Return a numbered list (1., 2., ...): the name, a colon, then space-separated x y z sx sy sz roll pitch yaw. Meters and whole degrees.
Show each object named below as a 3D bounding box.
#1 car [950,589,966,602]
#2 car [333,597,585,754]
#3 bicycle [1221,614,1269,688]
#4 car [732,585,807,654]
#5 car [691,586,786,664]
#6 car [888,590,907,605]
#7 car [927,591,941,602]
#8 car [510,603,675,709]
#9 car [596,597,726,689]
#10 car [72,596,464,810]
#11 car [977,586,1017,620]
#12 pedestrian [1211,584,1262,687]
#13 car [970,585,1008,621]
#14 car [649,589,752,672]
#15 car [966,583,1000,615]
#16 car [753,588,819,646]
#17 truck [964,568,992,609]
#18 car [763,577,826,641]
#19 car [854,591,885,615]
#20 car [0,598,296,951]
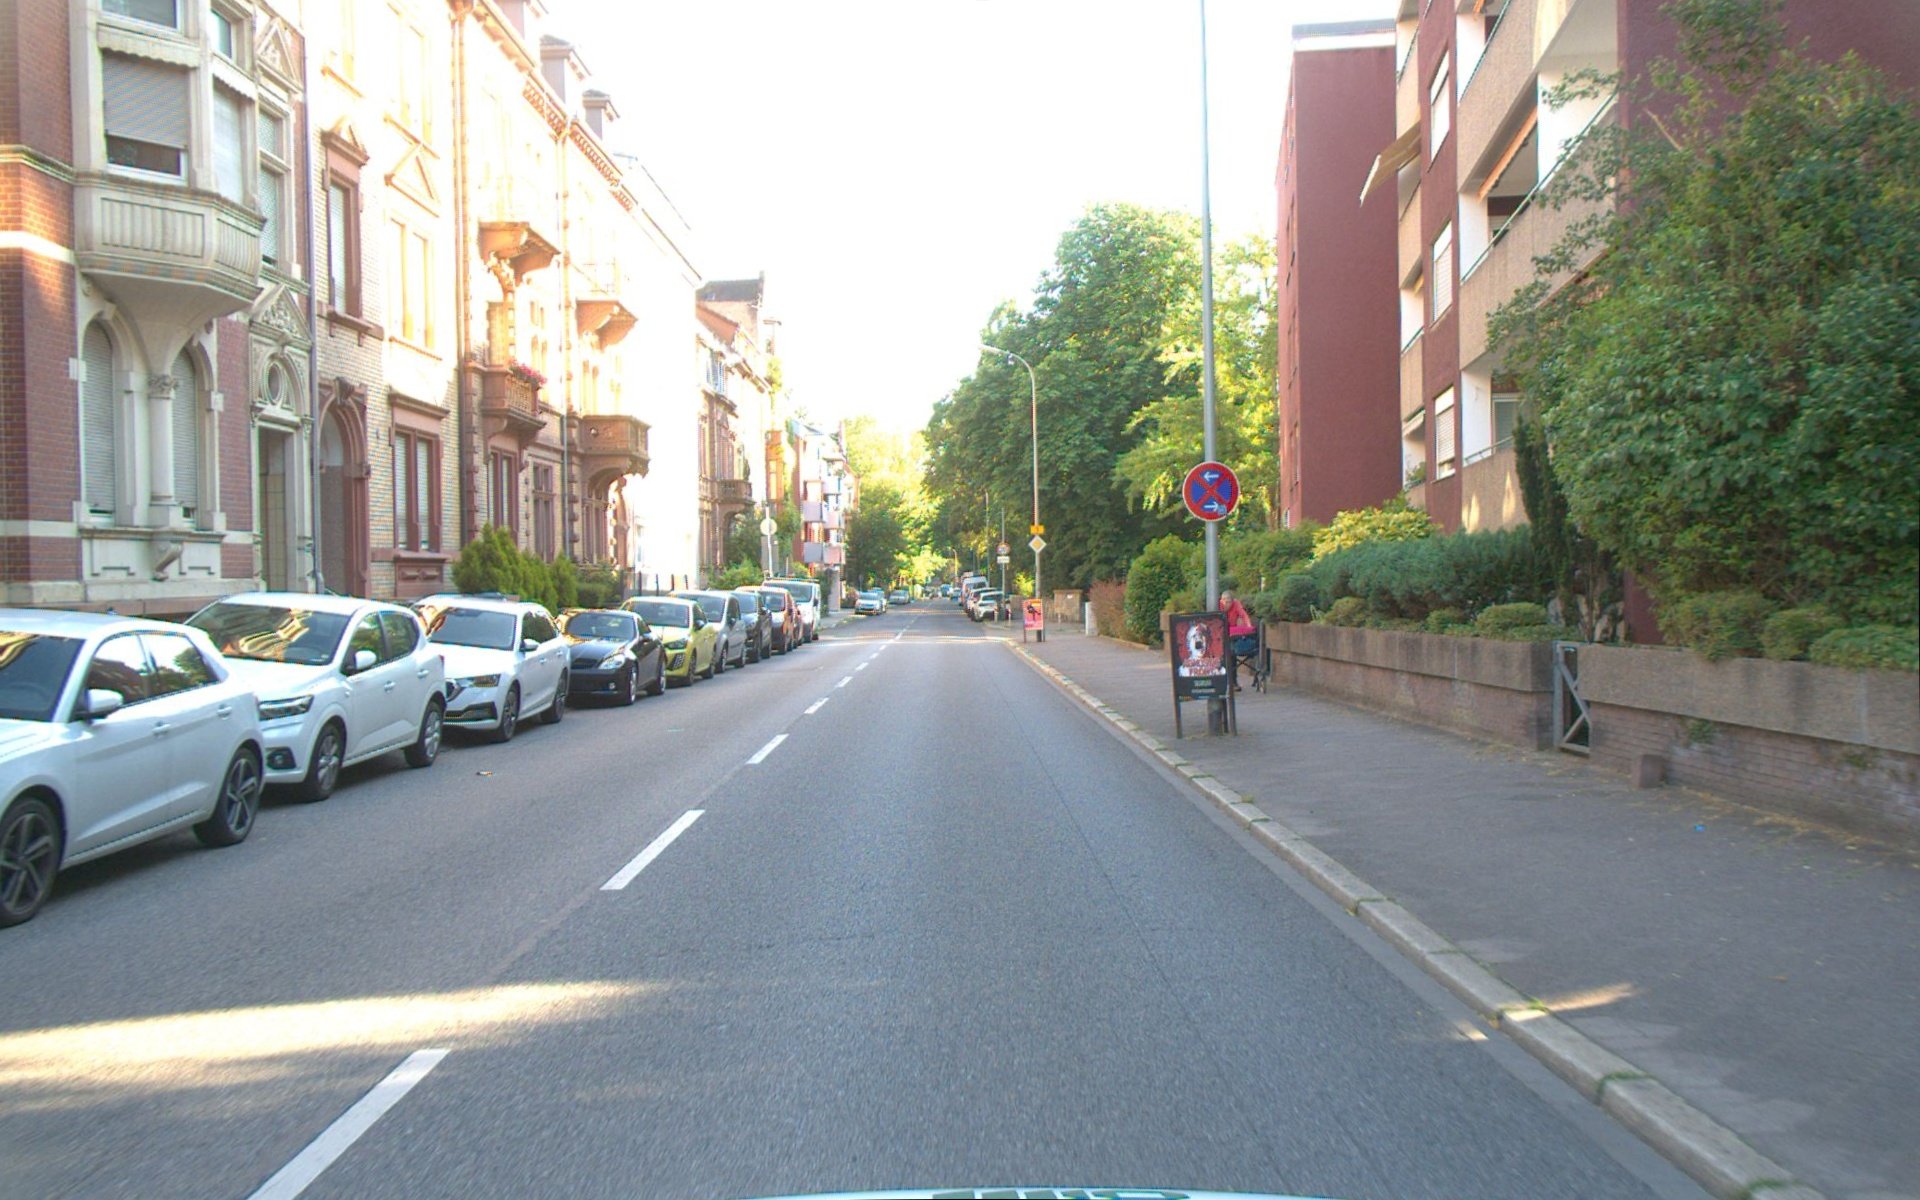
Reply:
1. car: -0.266 -0.637 227.503 1.954 1.517 4.467 -2 1 -4
2. car: -5.638 0.768 19.191 1.668 1.563 4.548 0 1 -2
3. bicycle: 3.938 0.700 22.863 0.555 0.987 0.492 0 1 -3
4. car: -5.053 0.487 44.253 1.668 1.769 3.856 0 1 -2
5. car: -5.234 0.538 39.501 1.667 1.737 4.440 0 1 0
6. car: -6.891 -0.309 183.036 1.953 1.517 4.470 -2 1 -1
7. car: -3.906 -0.582 248.707 1.953 1.517 4.470 -2 1 -1
8. car: -5.309 0.760 24.330 1.668 1.390 3.858 0 1 -2
9. car: -5.235 0.742 29.410 1.668 1.529 4.071 0 -1 -2
10. car: -5.651 0.745 14.074 1.668 1.529 4.020 0 1 0
11. car: 1.858 0.137 84.246 1.952 1.544 4.001 -2 1 1
12. pedestrian: 3.909 0.489 23.446 0.585 1.427 0.668 0 1 -3
13. car: 1.586 0.141 89.847 1.952 1.767 4.001 -2 1 1
14. car: -5.346 0.584 34.405 1.668 1.611 3.634 0 1 -2
15. car: 1.403 -0.056 100.435 1.952 1.767 4.001 -2 1 1
16. car: -5.186 0.487 49.723 1.668 1.648 4.116 0 1 -2
17. truck: 1.351 -0.921 125.400 1.953 2.947 4.470 -2 1 -1
18. car: -5.457 0.264 55.080 1.757 2.045 4.696 0 1 -2
19. car: -6.337 0.212 116.437 1.953 1.517 4.470 -2 1 -1
20. car: -5.157 0.777 8.970 1.668 1.529 3.822 0 1 -2
